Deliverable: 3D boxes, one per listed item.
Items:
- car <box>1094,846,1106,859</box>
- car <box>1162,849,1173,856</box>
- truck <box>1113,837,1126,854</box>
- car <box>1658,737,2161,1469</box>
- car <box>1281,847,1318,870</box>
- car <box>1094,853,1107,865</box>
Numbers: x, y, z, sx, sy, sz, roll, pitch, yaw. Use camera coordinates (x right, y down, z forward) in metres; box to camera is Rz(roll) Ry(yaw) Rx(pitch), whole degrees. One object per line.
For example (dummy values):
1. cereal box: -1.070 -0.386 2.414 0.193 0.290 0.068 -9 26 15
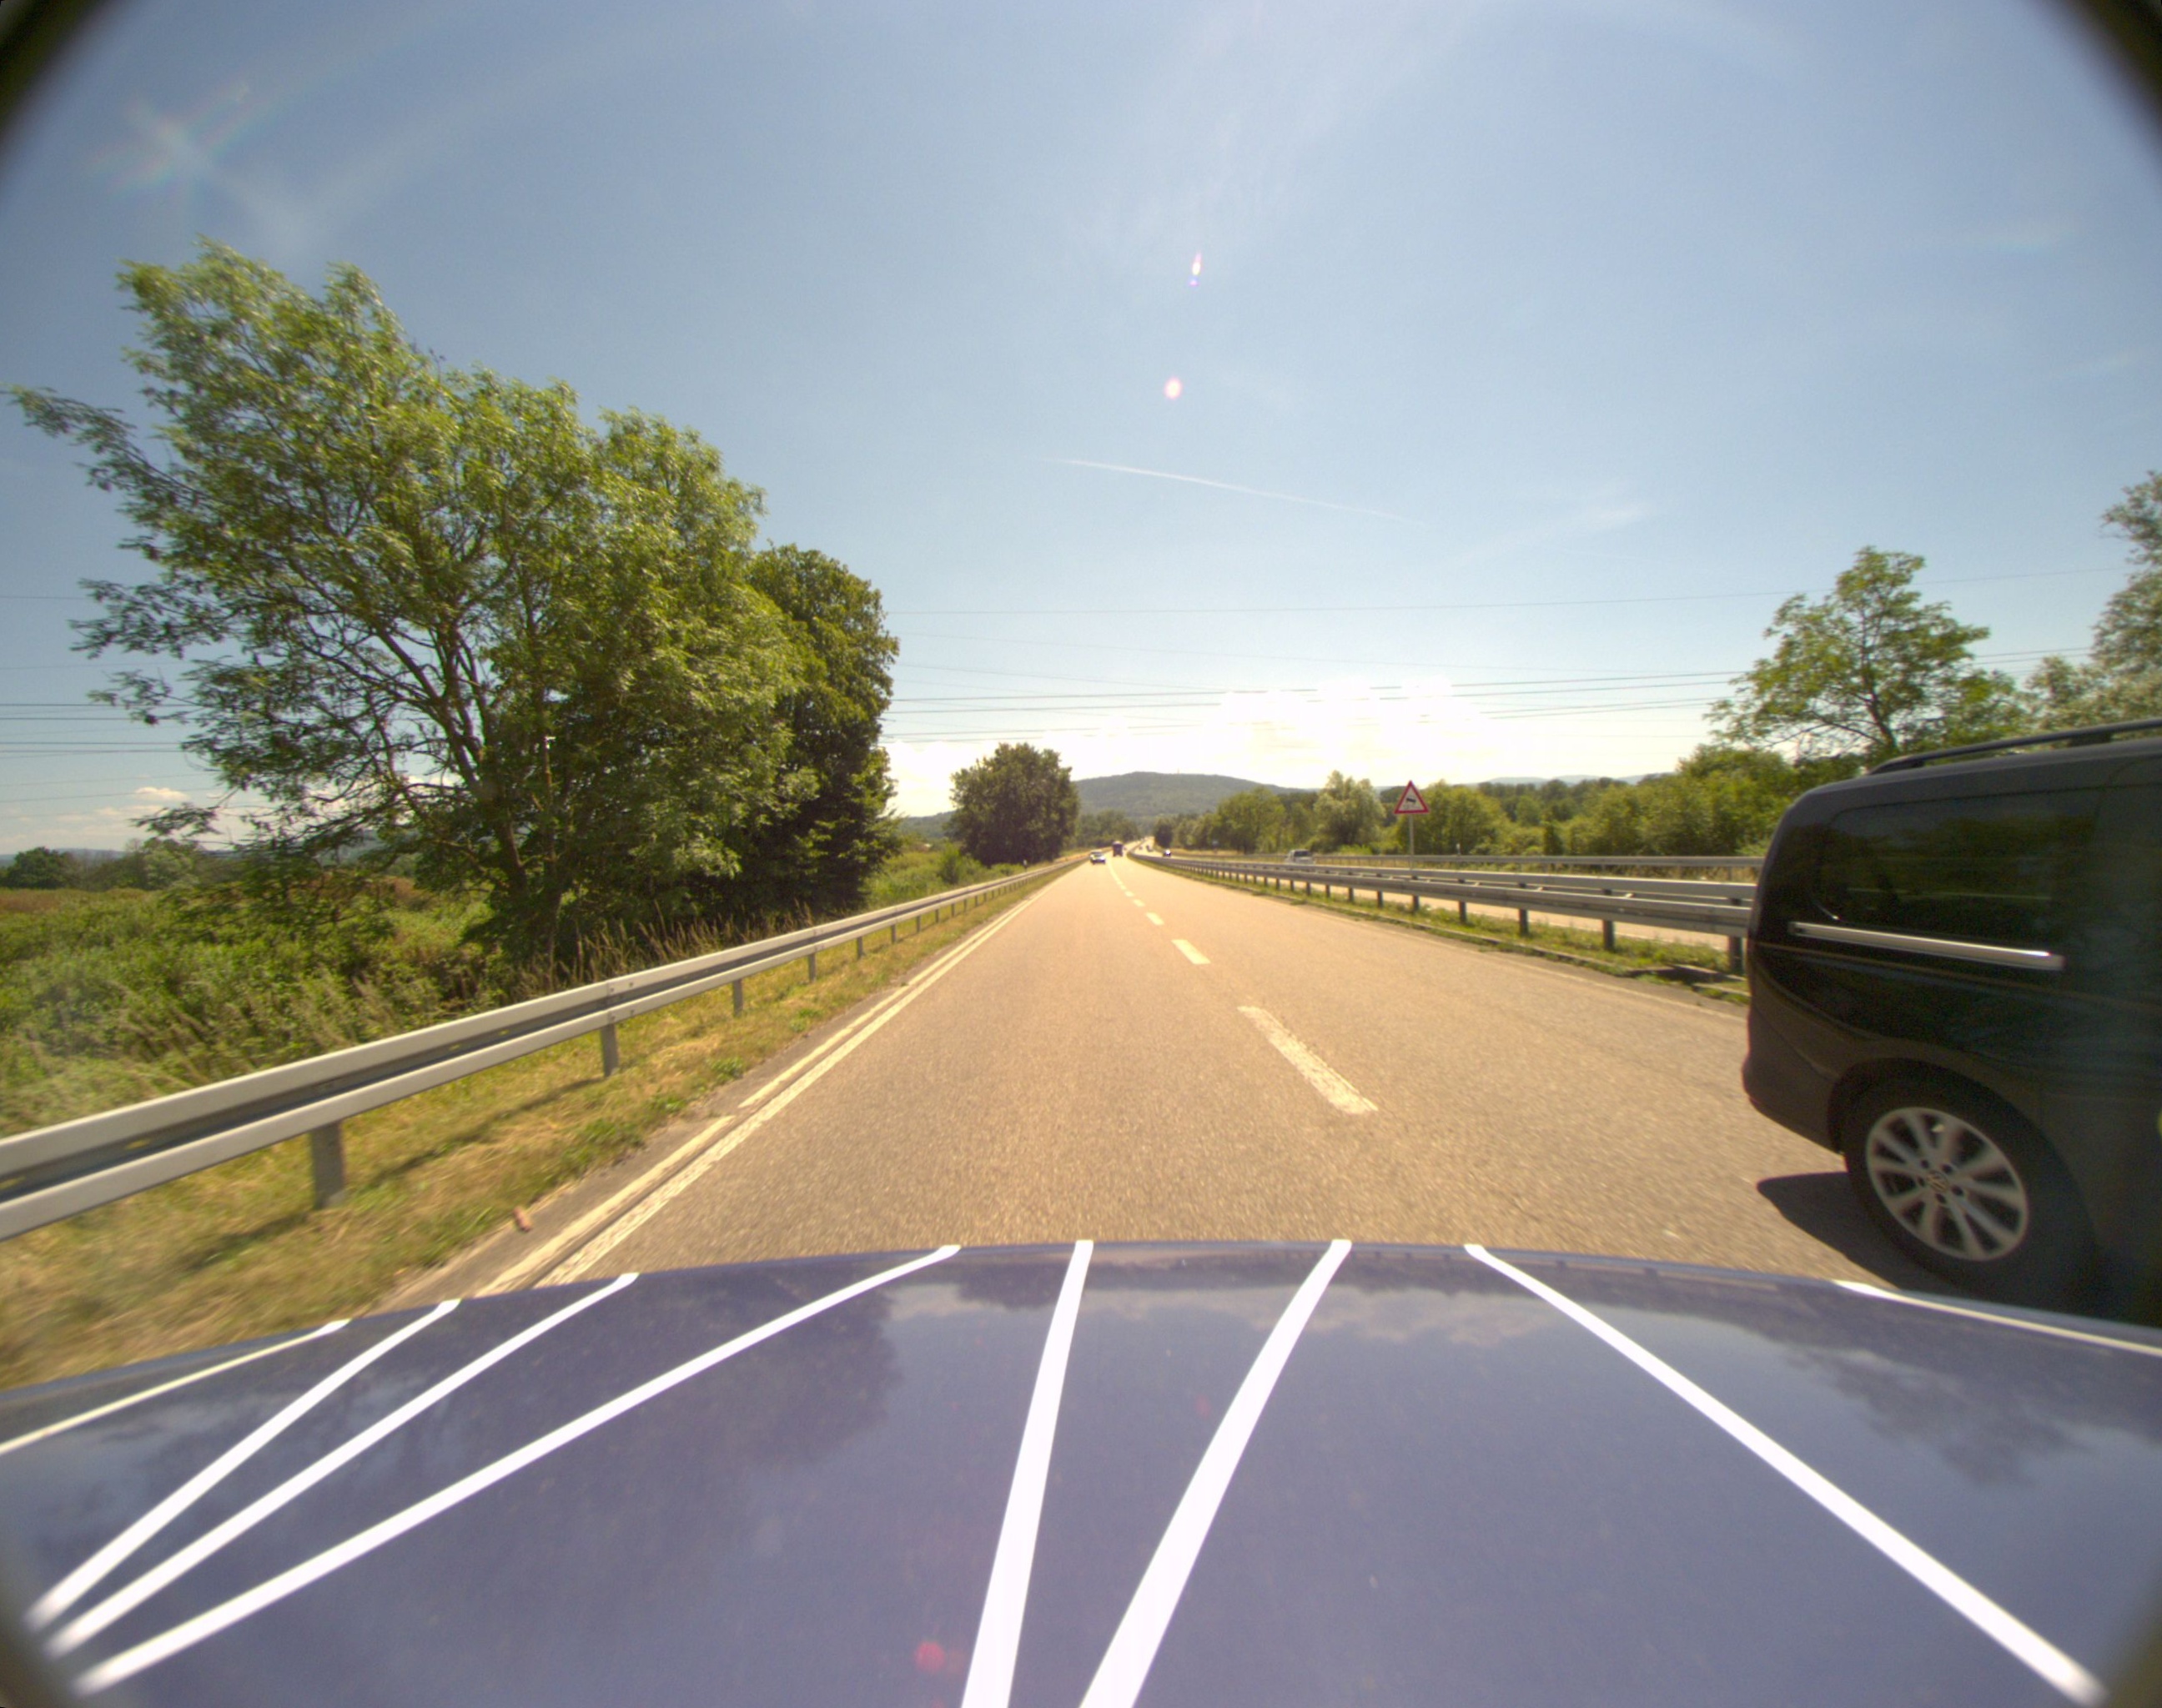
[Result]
1. car: 2.996 -0.264 121.597 1.619 2.086 3.486 -2 1 5
2. car: 18.990 -0.260 166.686 1.849 1.405 4.680 -2 0 1
3. truck: 10.023 -2.312 196.282 2.826 4.143 9.950 -2 1 5
4. car: 3.675 0.626 0.834 1.859 1.876 5.572 -2 1 0
5. car: 14.978 0.286 52.245 1.536 1.441 3.701 -2 0 1
6. car: 2.690 0.674 103.854 1.577 1.387 3.486 -2 1 5
